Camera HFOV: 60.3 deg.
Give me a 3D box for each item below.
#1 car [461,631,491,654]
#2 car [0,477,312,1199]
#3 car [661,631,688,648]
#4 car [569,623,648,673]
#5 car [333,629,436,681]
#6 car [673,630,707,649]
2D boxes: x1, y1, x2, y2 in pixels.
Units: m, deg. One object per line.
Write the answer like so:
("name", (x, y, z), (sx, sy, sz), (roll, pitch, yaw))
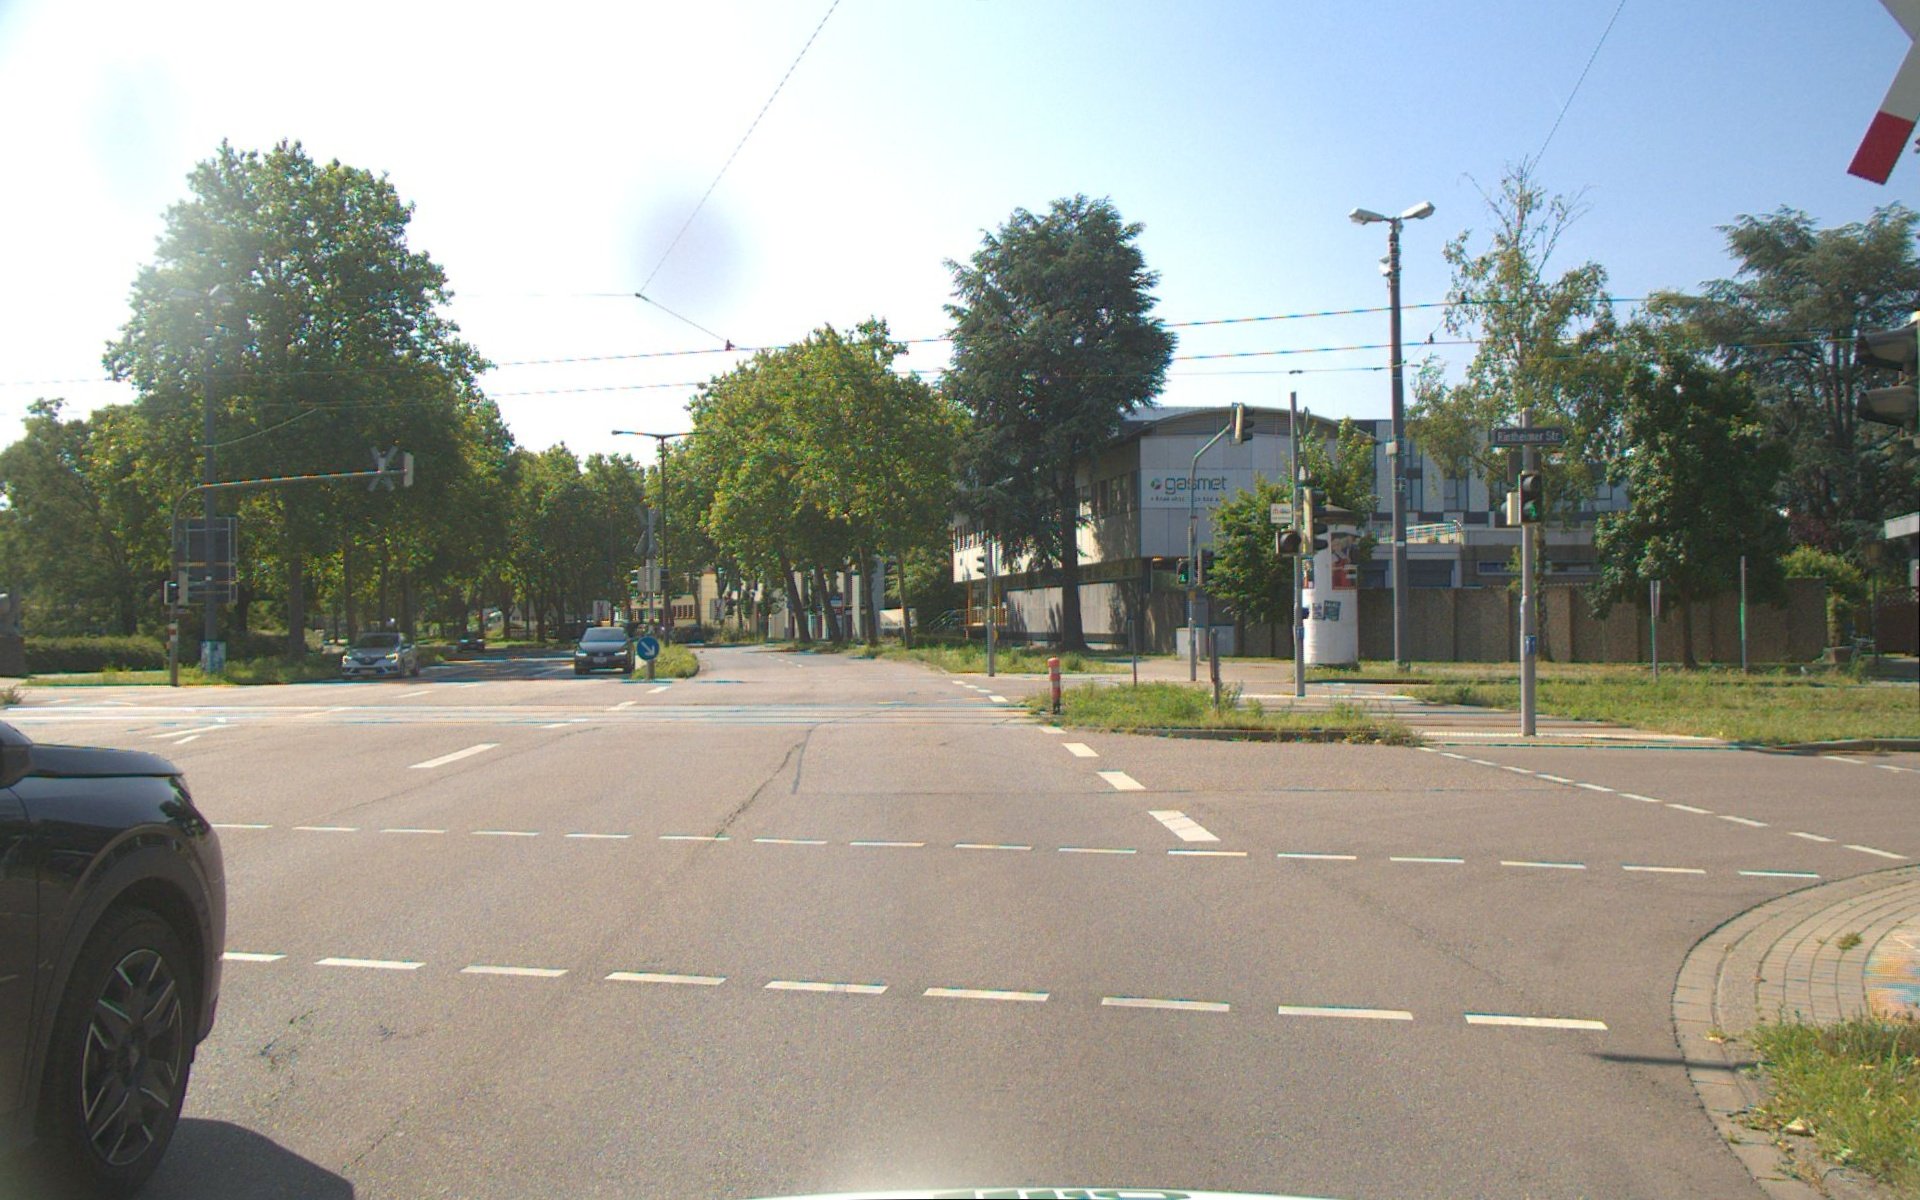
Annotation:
("car", (-36.220, 3.161, 123.811), (1.678, 1.617, 4.422), (-2, 0, -10))
("car", (-2.853, 0.599, 2.732), (1.834, 1.726, 4.434), (0, -1, -1))
("car", (-25.491, 3.507, 147.560), (1.682, 1.514, 4.075), (-1, -1, -21))
("car", (-11.137, 1.497, 52.683), (1.659, 1.534, 4.128), (-1, -1, -1))
("car", (-18.270, 1.720, 52.713), (1.659, 1.534, 4.660), (-1, -1, -1))
("car", (-23.223, 3.388, 142.280), (1.685, 1.514, 4.682), (-2, 0, -24))
